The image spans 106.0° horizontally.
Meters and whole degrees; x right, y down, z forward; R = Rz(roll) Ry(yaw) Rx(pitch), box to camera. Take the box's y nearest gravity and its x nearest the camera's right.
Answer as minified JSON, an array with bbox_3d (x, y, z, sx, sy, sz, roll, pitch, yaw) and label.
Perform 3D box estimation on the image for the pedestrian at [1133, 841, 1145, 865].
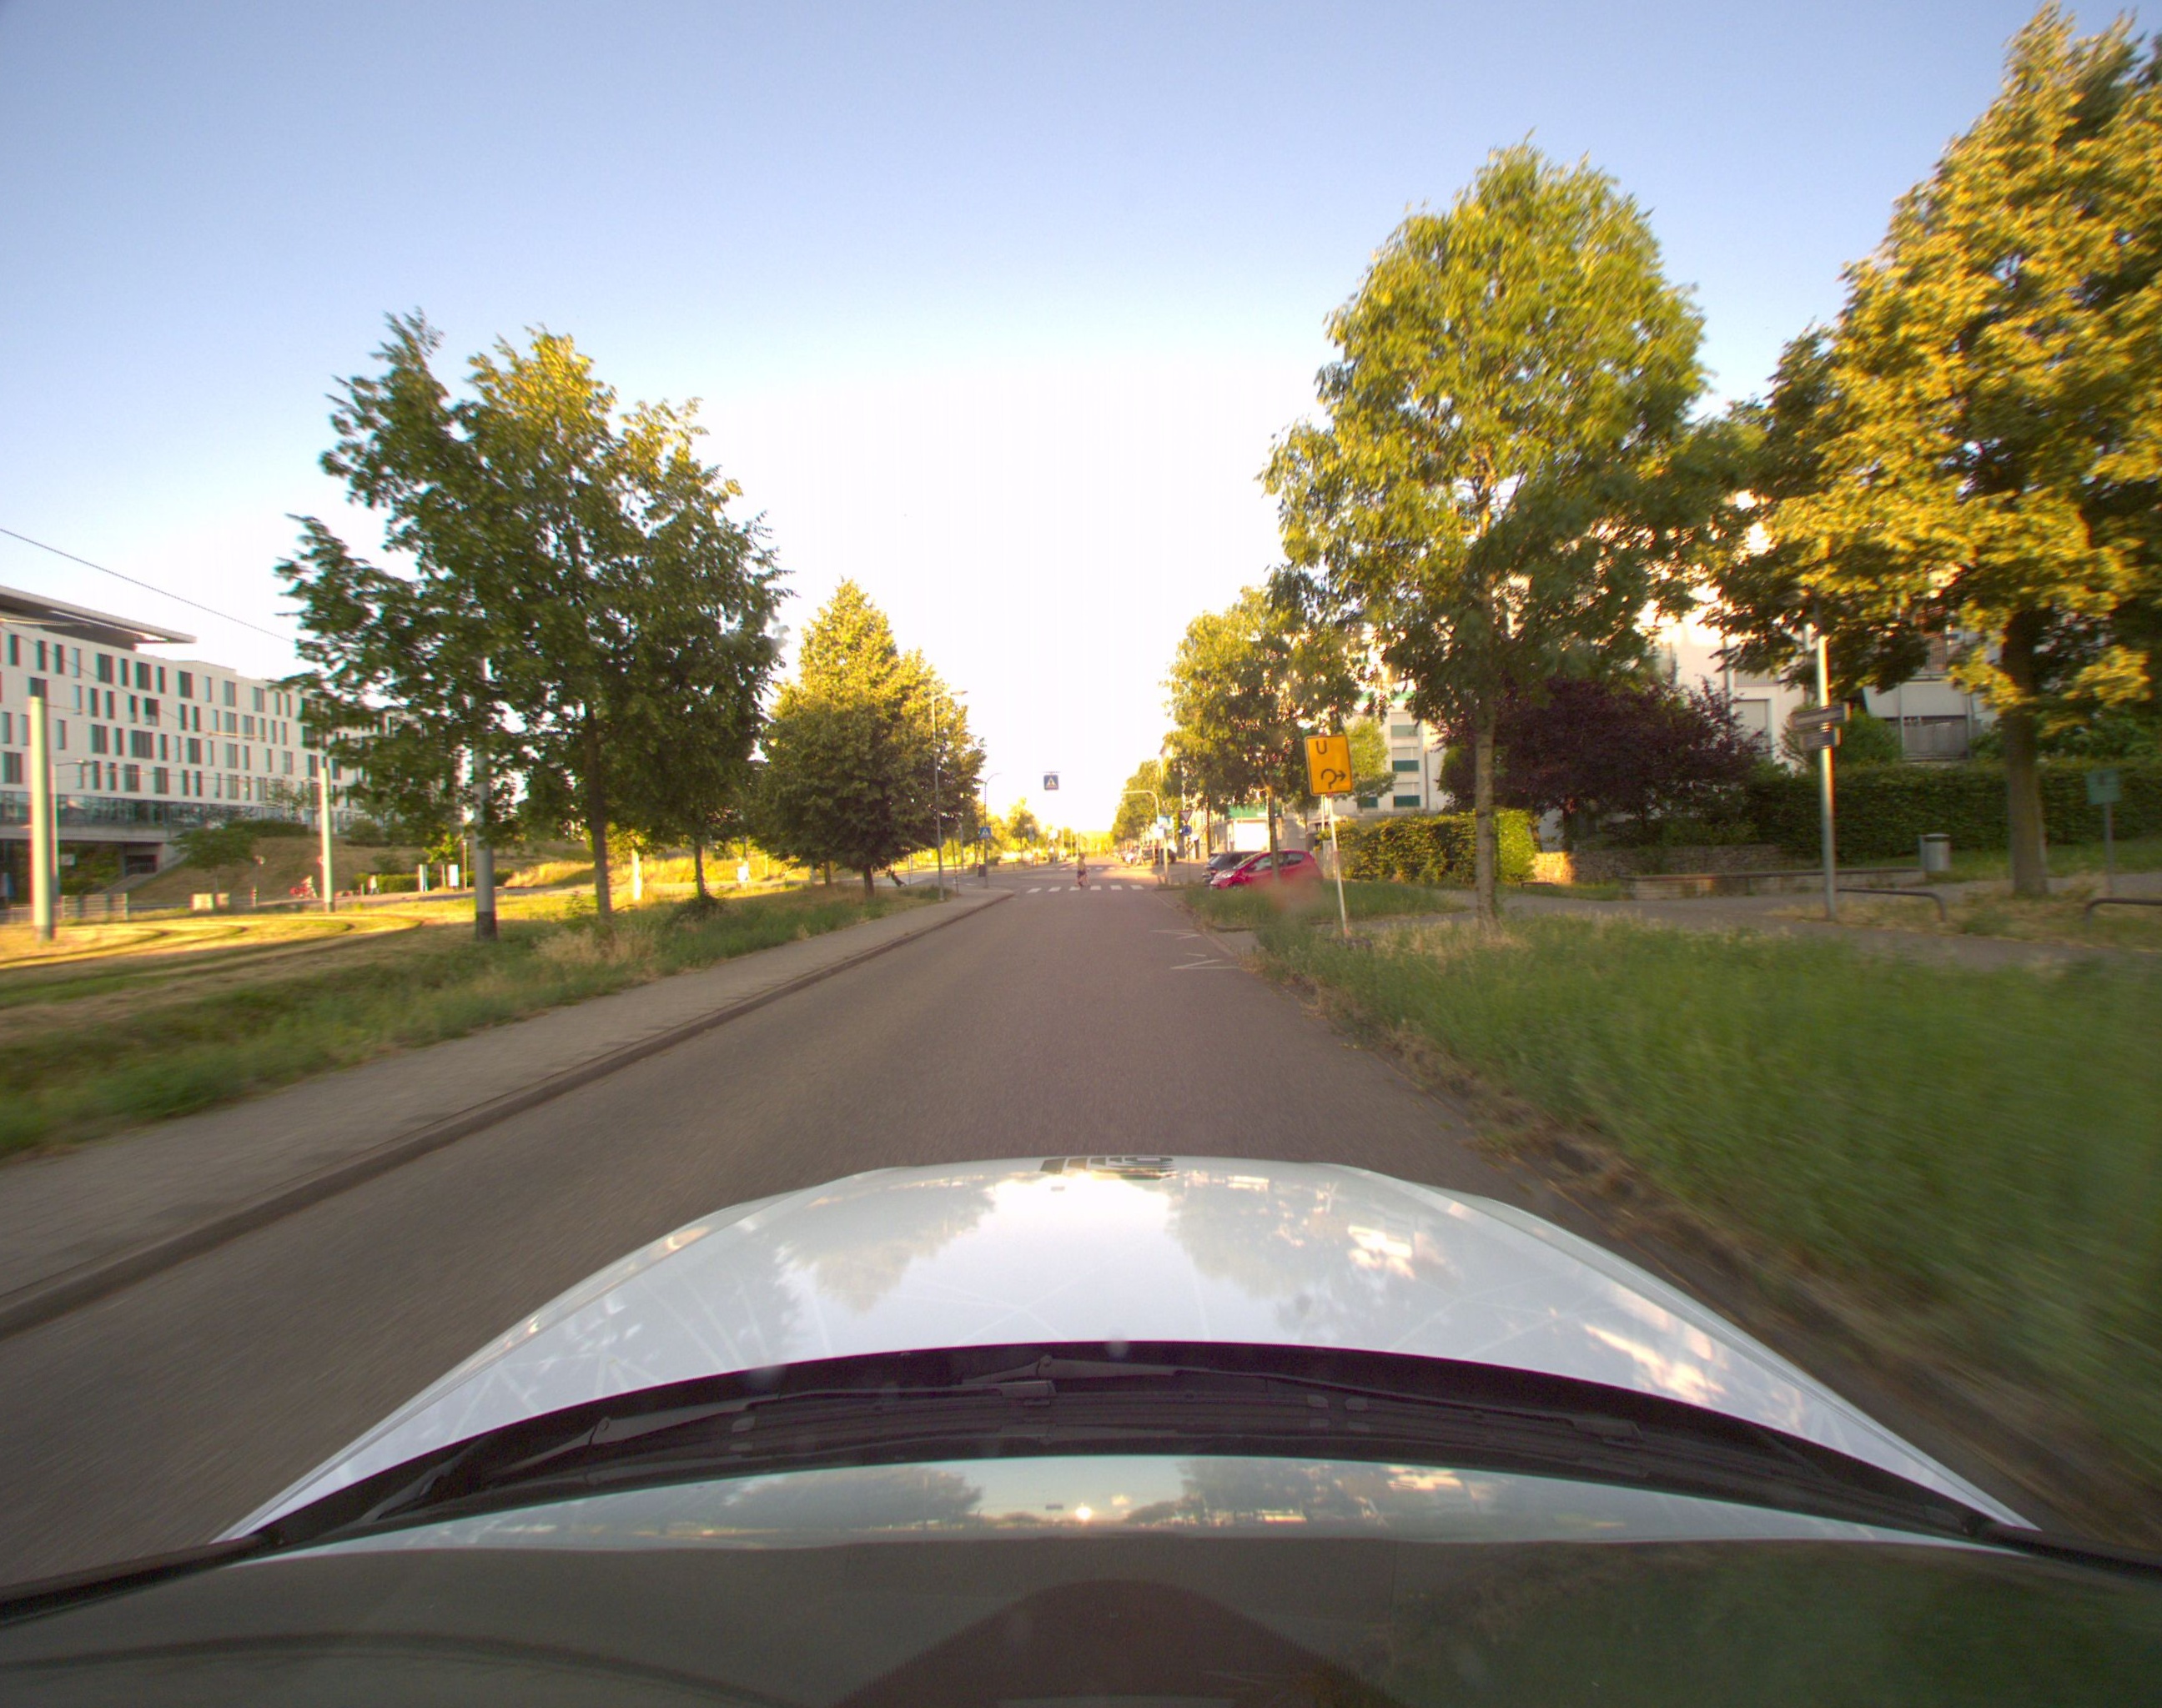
[{"bbox_3d":[4.880,-0.070,68.721,0.842,2.013,0.945,-2,0,7],"label":"pedestrian"}]

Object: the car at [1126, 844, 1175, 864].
[{"bbox_3d":[6.425,-0.001,75.576,4.467,1.596,2.001,-2,0,2],"label":"car"}]

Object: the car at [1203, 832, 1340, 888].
[{"bbox_3d":[5.806,0.179,25.087,3.791,1.508,1.678,-2,0,-1],"label":"car"}]

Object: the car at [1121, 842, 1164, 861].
[{"bbox_3d":[7.424,-0.273,98.778,4.992,2.045,2.248,-2,0,-4],"label":"car"}]

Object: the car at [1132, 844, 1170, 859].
[{"bbox_3d":[8.237,-0.333,95.717,4.249,1.596,2.000,-2,0,0],"label":"car"}]

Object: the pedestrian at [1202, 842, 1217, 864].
[{"bbox_3d":[10.202,-0.085,64.489,1.002,1.788,0.761,-1,0,-5],"label":"pedestrian"}]

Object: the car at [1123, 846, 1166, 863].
[{"bbox_3d":[6.504,0.049,83.499,4.247,1.596,2.001,-2,0,2],"label":"car"}]

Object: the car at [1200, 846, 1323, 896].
[{"bbox_3d":[6.117,0.554,27.824,3.791,1.508,1.678,-2,0,-1],"label":"car"}]

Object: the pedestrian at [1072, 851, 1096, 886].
[{"bbox_3d":[0.123,0.695,40.363,1.018,1.693,0.757,-2,0,-10],"label":"pedestrian"}]

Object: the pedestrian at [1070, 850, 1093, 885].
[{"bbox_3d":[0.024,0.685,41.088,0.983,1.693,0.697,-2,0,-10],"label":"pedestrian"}]

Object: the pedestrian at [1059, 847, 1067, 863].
[{"bbox_3d":[-2.205,0.127,101.222,0.866,2.013,0.787,-2,0,-9],"label":"pedestrian"}]

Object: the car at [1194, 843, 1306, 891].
[{"bbox_3d":[6.309,0.449,30.576,3.793,1.508,1.678,-3,3,-3],"label":"car"}]

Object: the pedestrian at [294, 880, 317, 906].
[{"bbox_3d":[-55.738,2.806,58.526,0.783,1.786,0.815,-2,0,4],"label":"pedestrian"}]
